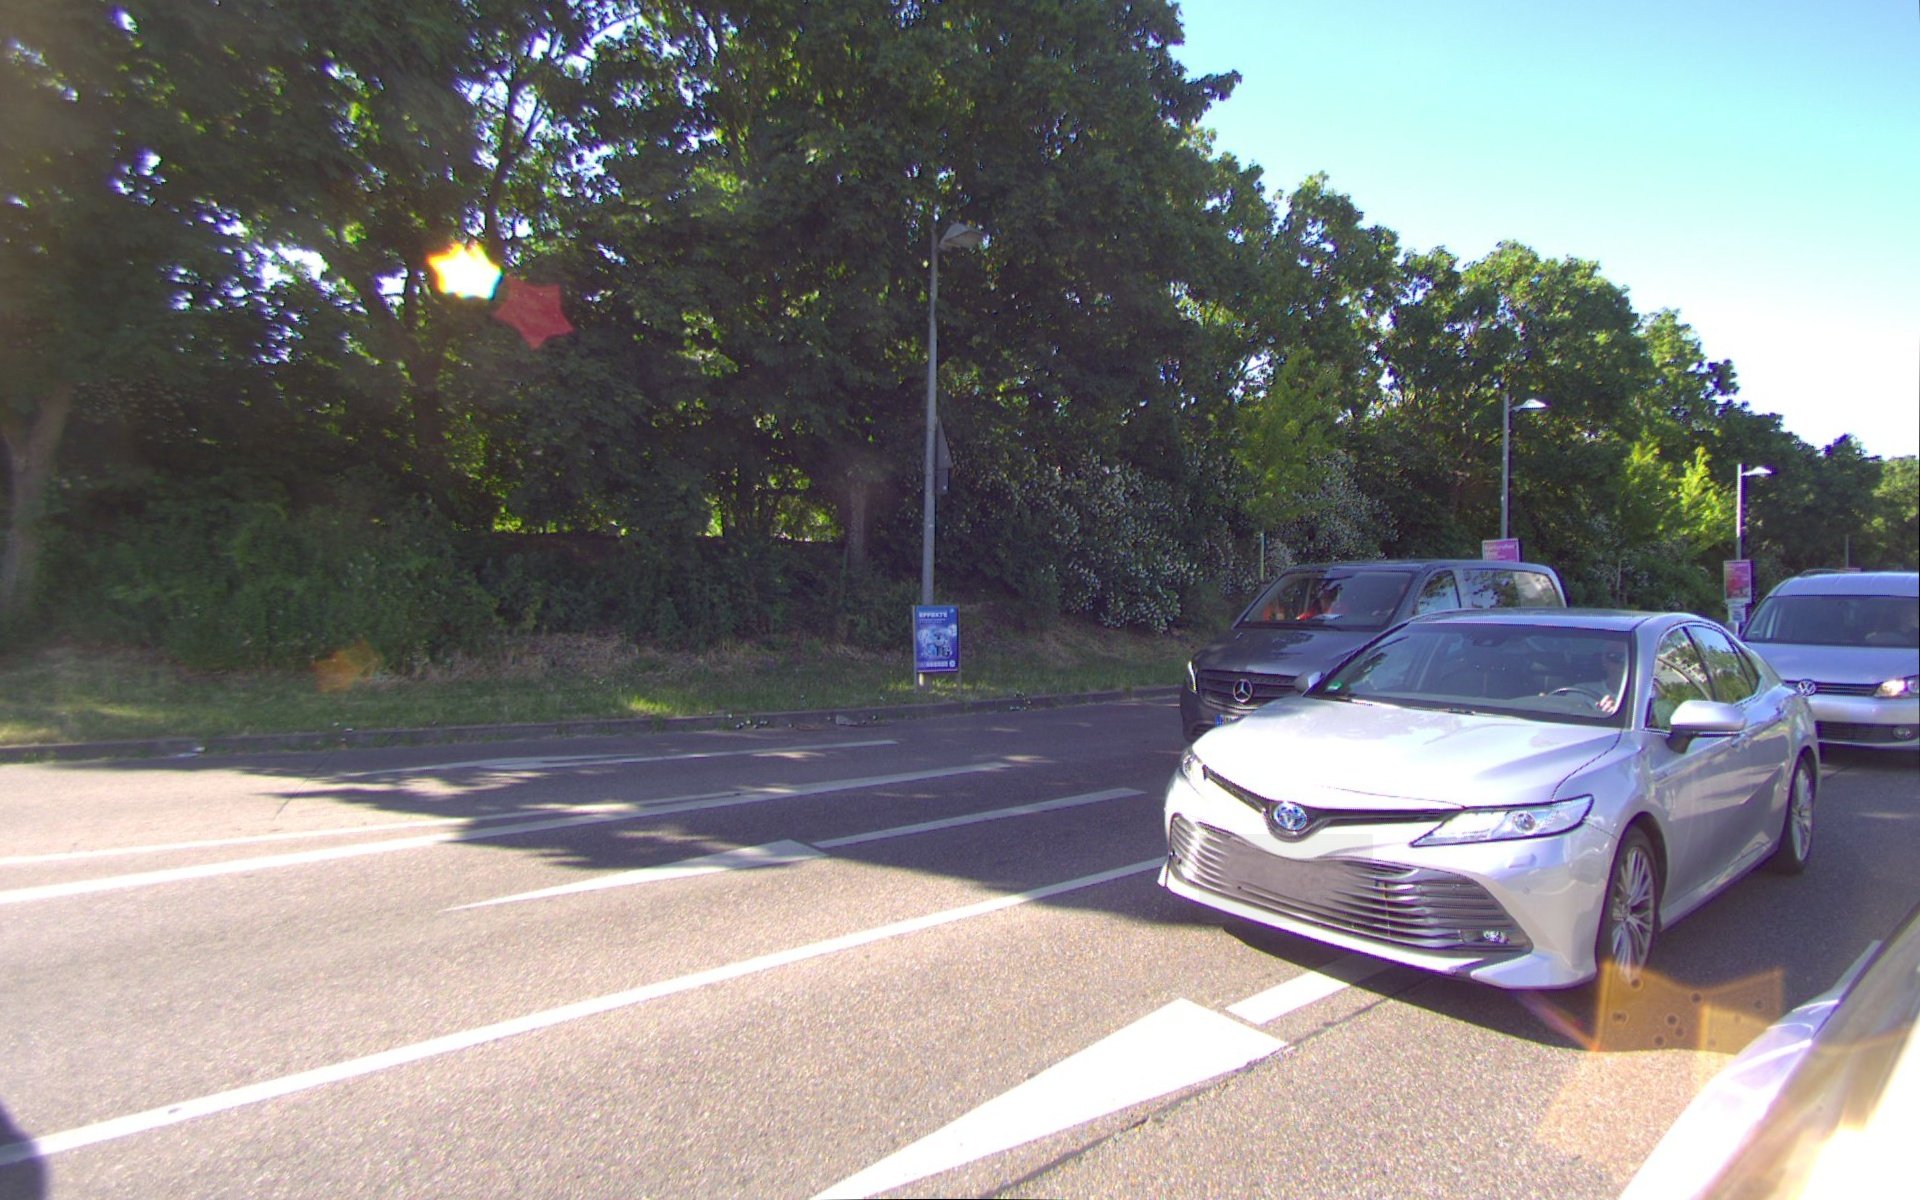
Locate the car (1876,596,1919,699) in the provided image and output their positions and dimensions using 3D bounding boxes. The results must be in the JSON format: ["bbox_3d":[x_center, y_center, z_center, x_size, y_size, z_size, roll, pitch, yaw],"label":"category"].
[{"bbox_3d":[15.206,0.674,15.061,3.995,1.421,1.776,0,1,-40],"label":"car"}]

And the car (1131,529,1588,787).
[{"bbox_3d":[4.111,0.397,9.921,5.056,1.917,1.998,0,1,-40],"label":"car"}]

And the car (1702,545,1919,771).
[{"bbox_3d":[9.527,0.471,10.562,4.539,1.928,1.822,0,1,-40],"label":"car"}]

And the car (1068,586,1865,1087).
[{"bbox_3d":[2.948,0.695,5.348,4.664,1.477,2.069,0,2,-40],"label":"car"}]
